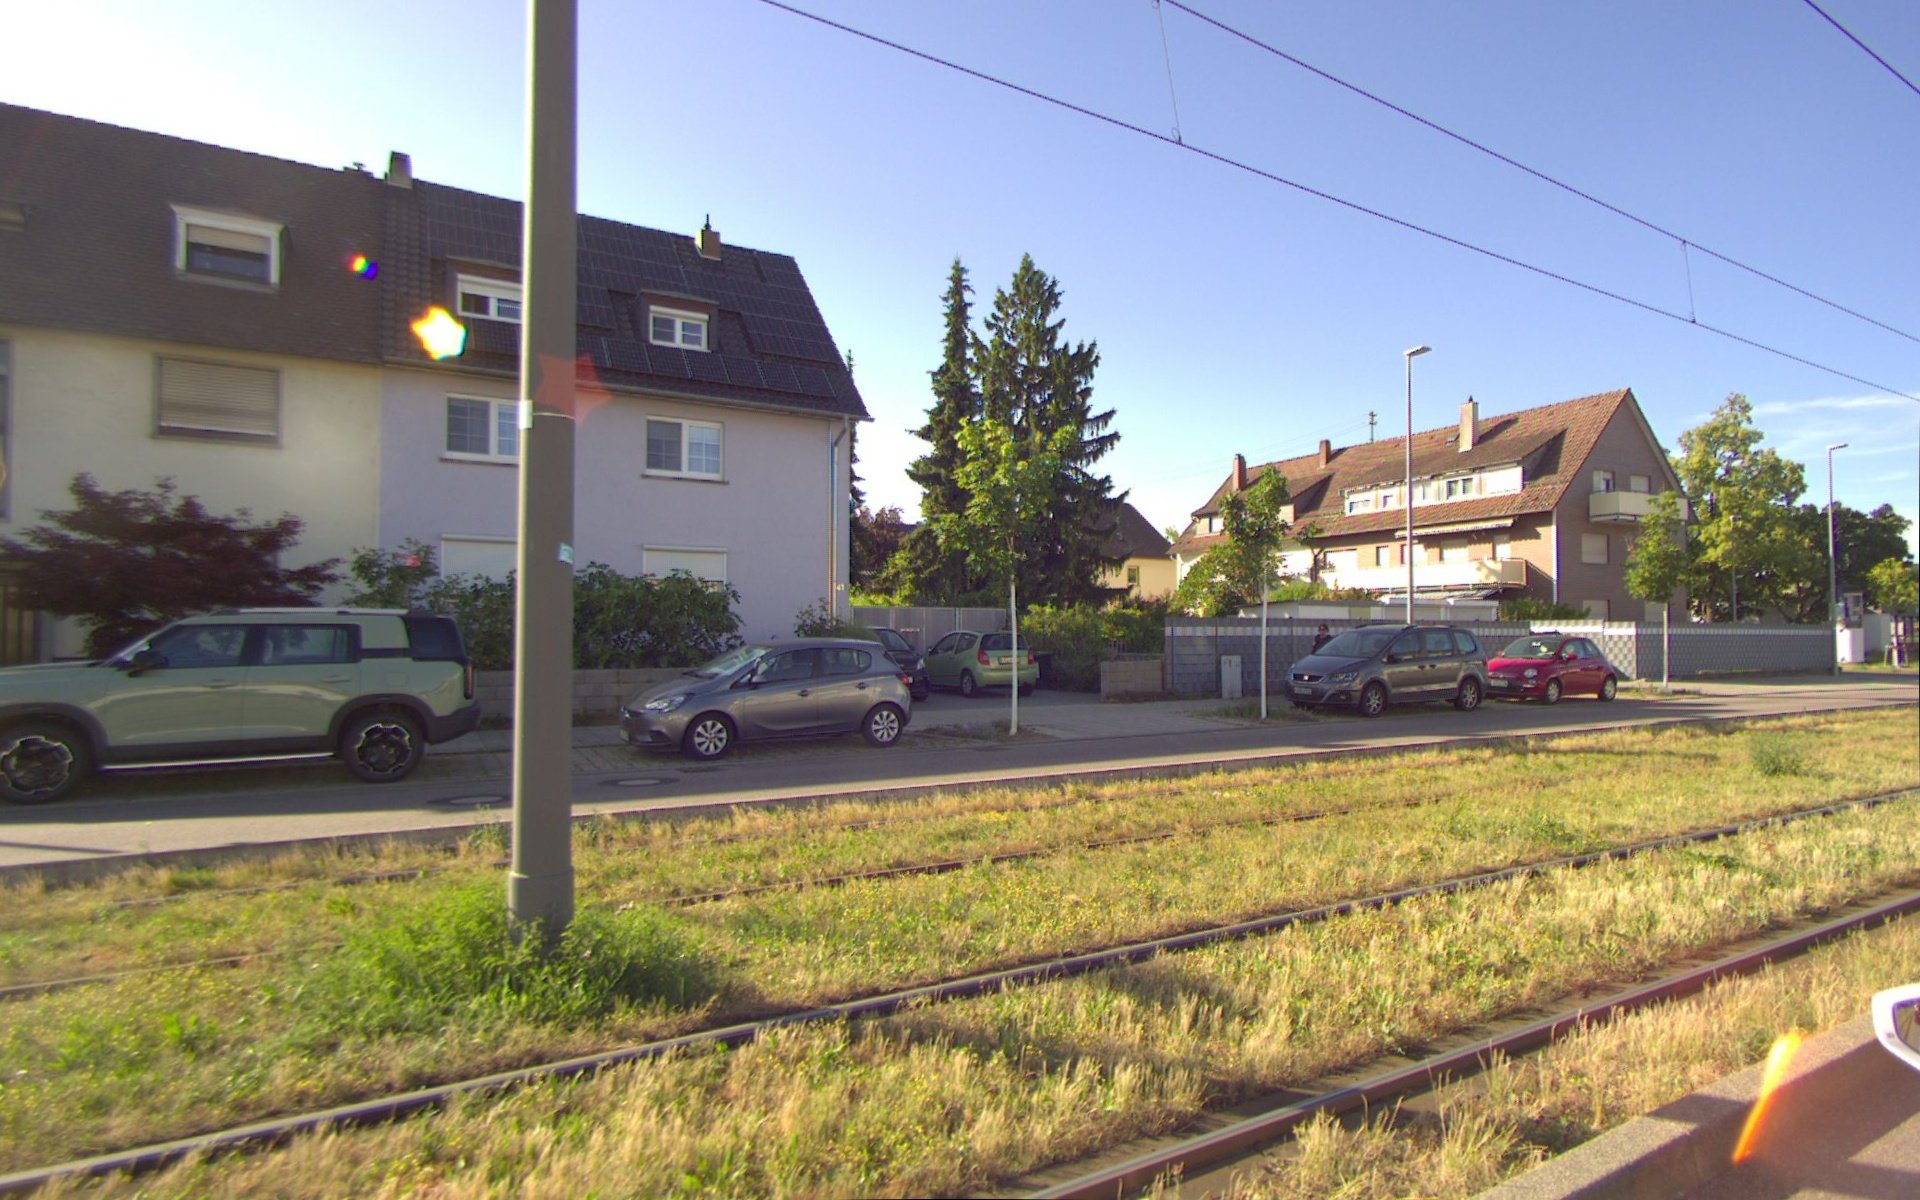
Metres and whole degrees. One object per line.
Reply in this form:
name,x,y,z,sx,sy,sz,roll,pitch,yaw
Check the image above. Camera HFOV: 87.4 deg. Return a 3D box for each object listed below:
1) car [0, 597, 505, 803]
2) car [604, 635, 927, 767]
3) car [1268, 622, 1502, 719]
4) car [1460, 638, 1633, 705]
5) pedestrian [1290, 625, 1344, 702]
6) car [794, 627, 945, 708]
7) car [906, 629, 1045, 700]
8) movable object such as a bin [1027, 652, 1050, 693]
car,-7.540,0.934,10.670,4.784,1.847,1.737,1,0,-30
car,-2.596,1.270,13.743,4.006,1.510,1.666,1,0,-33
car,8.580,1.331,20.148,4.789,1.707,1.811,1,0,-30
car,13.635,1.607,23.323,4.030,1.423,1.688,1,-2,-30
pedestrian,7.894,1.390,22.198,0.910,1.662,0.692,1,-1,-32
car,-2.019,1.377,21.563,1.675,1.480,3.608,2,-1,-35
car,0.275,1.437,23.224,1.684,1.493,3.598,1,-2,-28
movable object such as a bin,1.939,1.778,24.763,0.293,0.982,0.589,1,-2,-30
